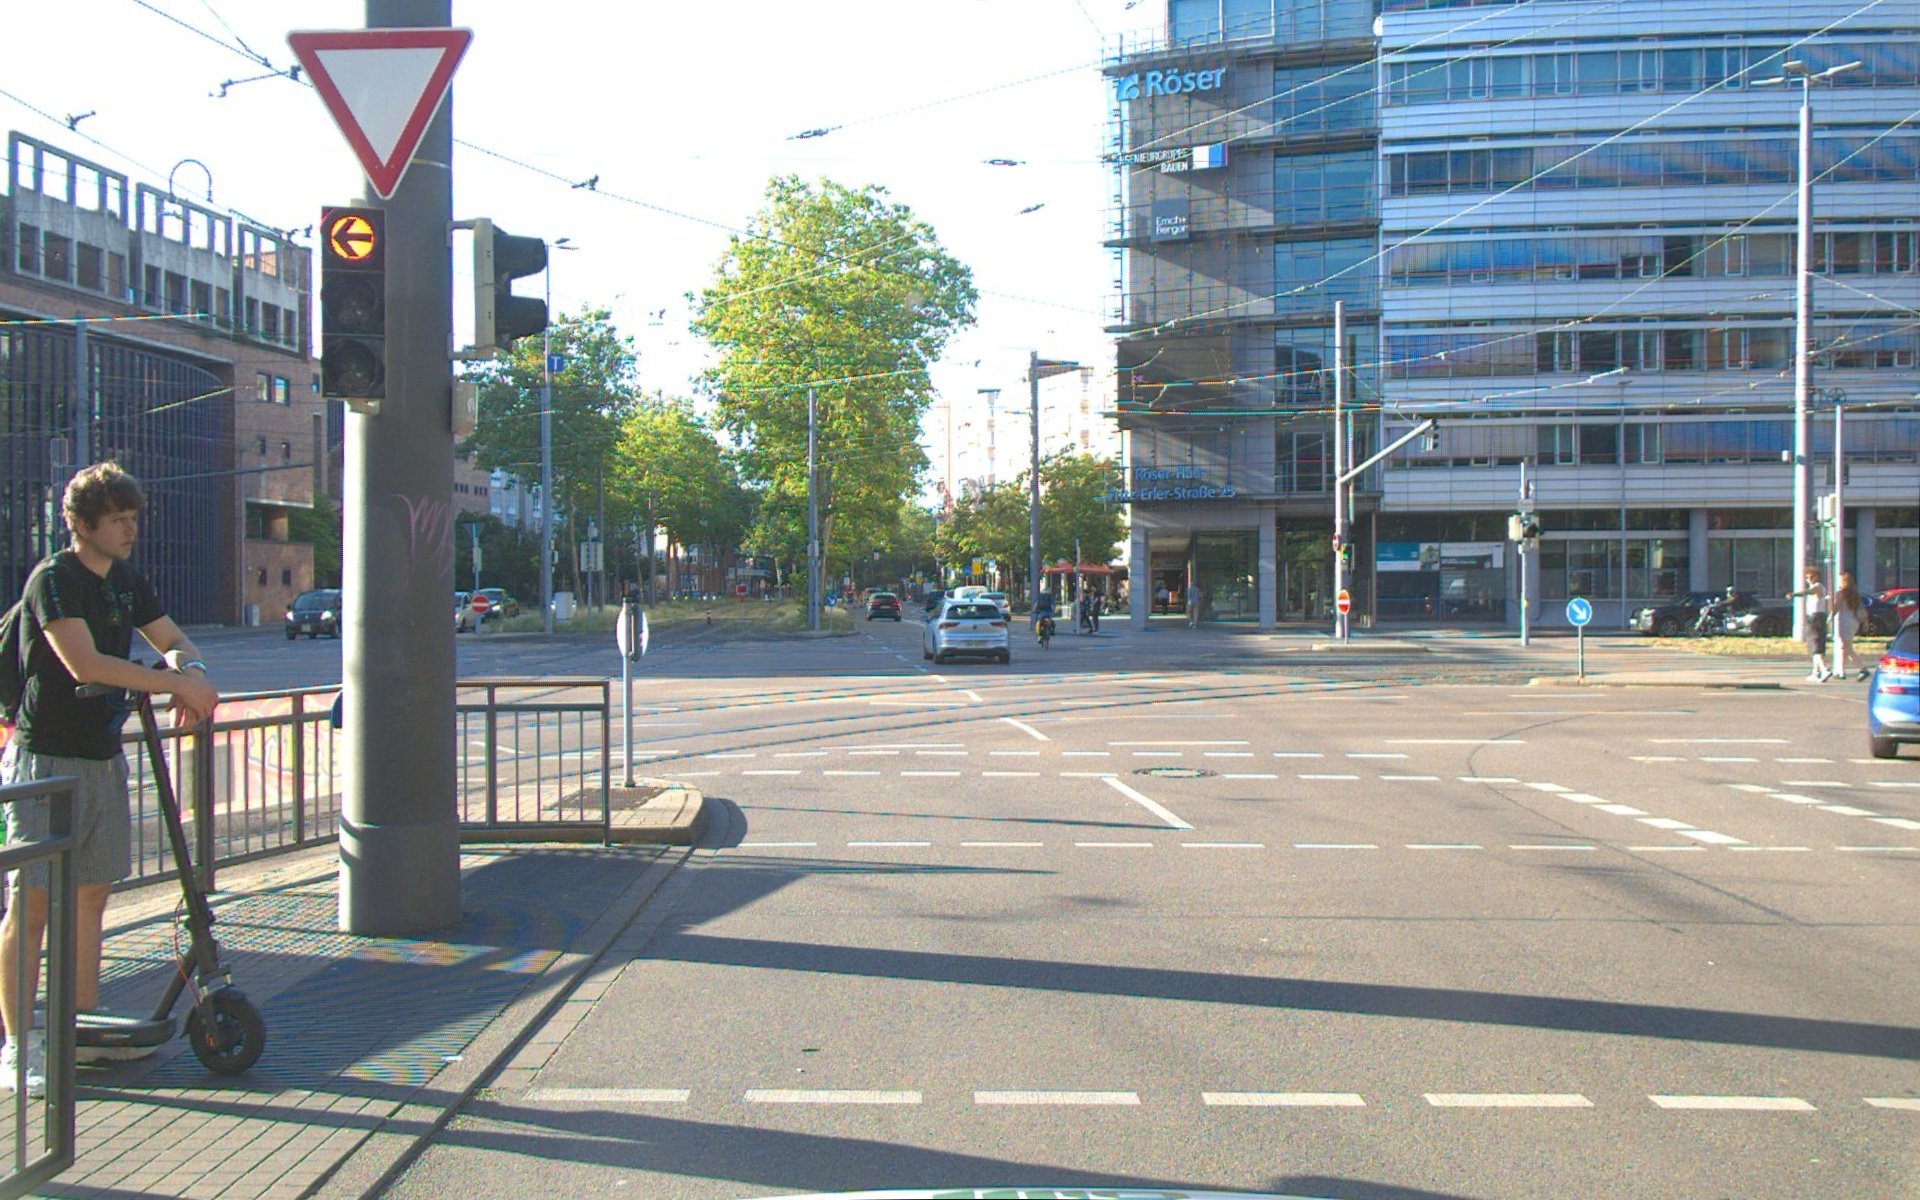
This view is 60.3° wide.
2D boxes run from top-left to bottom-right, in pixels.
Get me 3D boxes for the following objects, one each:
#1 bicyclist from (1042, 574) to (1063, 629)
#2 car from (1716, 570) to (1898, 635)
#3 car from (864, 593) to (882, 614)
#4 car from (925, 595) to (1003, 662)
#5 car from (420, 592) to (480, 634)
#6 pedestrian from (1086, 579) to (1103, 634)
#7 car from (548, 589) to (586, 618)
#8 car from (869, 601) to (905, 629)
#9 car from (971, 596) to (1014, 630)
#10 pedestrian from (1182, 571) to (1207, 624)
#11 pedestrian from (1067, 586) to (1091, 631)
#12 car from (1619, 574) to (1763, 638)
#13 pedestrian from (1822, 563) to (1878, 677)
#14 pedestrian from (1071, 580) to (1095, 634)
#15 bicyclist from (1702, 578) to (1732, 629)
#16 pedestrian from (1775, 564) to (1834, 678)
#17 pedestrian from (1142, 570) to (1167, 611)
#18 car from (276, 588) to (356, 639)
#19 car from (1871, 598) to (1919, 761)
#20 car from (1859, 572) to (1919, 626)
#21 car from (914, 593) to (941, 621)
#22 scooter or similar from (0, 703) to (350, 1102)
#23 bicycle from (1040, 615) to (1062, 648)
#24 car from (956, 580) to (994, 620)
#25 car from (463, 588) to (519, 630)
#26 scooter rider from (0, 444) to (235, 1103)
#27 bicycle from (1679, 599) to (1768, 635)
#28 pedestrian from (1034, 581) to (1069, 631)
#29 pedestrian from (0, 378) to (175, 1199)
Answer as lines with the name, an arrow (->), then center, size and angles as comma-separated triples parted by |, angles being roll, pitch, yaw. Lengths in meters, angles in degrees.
bicyclist -> 2.532, 0.036, 45.337 | 0.477, 1.464, 0.615 | 2, 1, -1
car -> 23.935, 0.074, 46.841 | 4.165, 1.753, 1.885 | -1, 0, 2
car -> -10.678, 0.393, 203.789 | 1.952, 2.049, 3.998 | 1, -7, 0
car -> 0.126, 0.617, 38.258 | 1.712, 1.443, 4.001 | 0, 1, 1
car -> -20.625, 0.509, 66.964 | 1.591, 1.604, 3.994 | -1, 0, -7
pedestrian -> 5.122, 0.246, 62.966 | 0.574, 2.049, 0.620 | 1, -1, 0
car -> -22.922, 0.226, 96.480 | 1.644, 1.635, 3.994 | 1, 0, -7
car -> -3.840, 0.773, 86.285 | 1.729, 1.429, 4.292 | 0, 0, -5
car -> 1.608, 0.663, 82.803 | 1.988, 1.624, 3.999 | 1, 0, -1
pedestrian -> 9.222, -0.088, 65.112 | 0.852, 2.049, 0.793 | 1, -2, -1
pedestrian -> 4.640, 0.339, 64.561 | 0.852, 1.737, 0.793 | 1, -1, -1
car -> 24.362, 0.196, 55.236 | 3.906, 2.049, 2.000 | 1, 0, -1
pedestrian -> 14.339, 0.314, 26.644 | 0.726, 1.789, 0.683 | -1, 0, 33
pedestrian -> 4.737, 0.270, 63.681 | 0.832, 2.049, 0.707 | 1, -1, -2
bicyclist -> 22.798, 0.111, 49.824 | 0.649, 1.529, 0.613 | -1, 0, 4
pedestrian -> 13.490, 0.334, 26.409 | 0.727, 1.789, 0.677 | -1, 0, 36
pedestrian -> 10.835, -0.518, 92.180 | 1.285, 2.228, 1.171 | 1, -1, 5
car -> -23.774, 0.491, 61.184 | 1.832, 1.793, 3.993 | 1, 0, -8
car -> 10.228, 0.735, 16.765 | 1.715, 1.485, 4.205 | 1, 0, 29
car -> 29.455, 0.013, 49.712 | 3.903, 1.579, 1.798 | 1, 0, 4
car -> -2.481, 0.517, 126.637 | 1.953, 2.049, 3.999 | 1, 0, -1
scooter or similar -> -2.599, 0.894, 5.091 | 1.177, 1.100, 0.648 | -1, 0, 3
bicycle -> 2.499, 0.867, 45.531 | 0.481, 0.802, 1.862 | 1, 2, -1
car -> 0.801, 0.010, 89.794 | 1.953, 2.049, 3.999 | 1, 0, -1
car -> -21.151, 0.400, 74.716 | 1.787, 1.821, 3.994 | -1, 0, -7
scooter rider -> -2.676, 0.504, 5.098 | 0.554, 1.885, 0.680 | -1, -2, 4
bicycle -> 22.988, 0.505, 49.820 | 2.359, 1.040, 0.637 | -1, 0, 4
pedestrian -> 3.638, 0.229, 65.788 | 1.315, 1.984, 1.011 | 0, 0, -1
pedestrian -> -2.737, 0.458, 4.085 | 1.143, 1.917, 0.854 | -1, 0, 4
